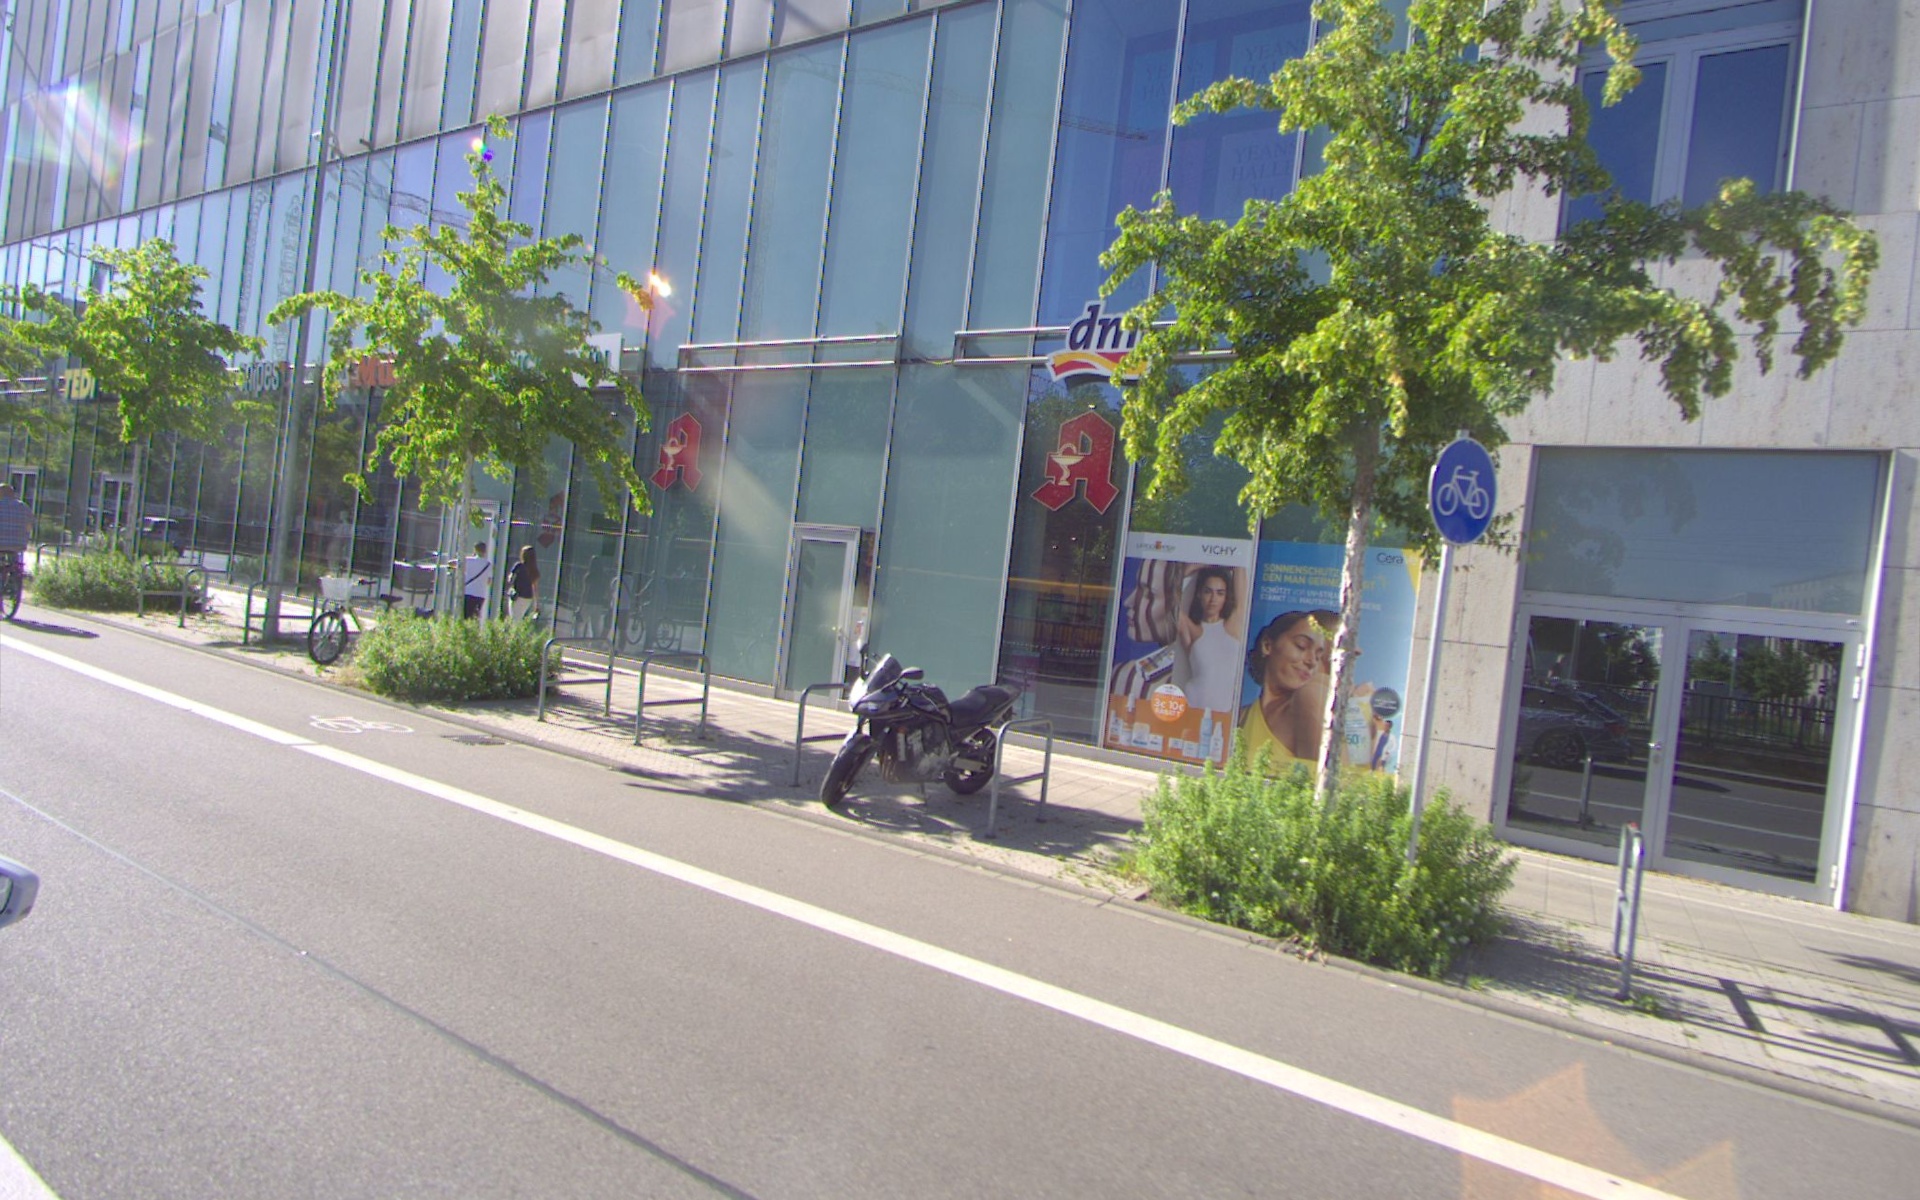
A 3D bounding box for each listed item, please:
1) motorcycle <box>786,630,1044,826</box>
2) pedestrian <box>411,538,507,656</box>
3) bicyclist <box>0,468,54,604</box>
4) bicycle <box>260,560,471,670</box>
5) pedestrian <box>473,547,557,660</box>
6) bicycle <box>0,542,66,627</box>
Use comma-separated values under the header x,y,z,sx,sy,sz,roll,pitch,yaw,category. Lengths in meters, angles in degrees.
x,y,z,sx,sy,sz,roll,pitch,yaw,category
-0.296,1.009,8.436,0.889,1.341,2.189,7,0,36,motorcycle
-7.627,-0.040,15.332,0.884,1.679,0.822,7,2,27,pedestrian
-13.022,-0.897,13.616,0.980,1.758,0.726,6,0,28,bicyclist
-7.656,0.224,13.043,0.936,1.221,2.084,6,0,38,bicycle
-7.061,0.059,15.970,0.884,1.680,0.707,7,2,28,pedestrian
-13.186,-0.276,13.674,2.293,0.995,0.730,6,0,28,bicycle
